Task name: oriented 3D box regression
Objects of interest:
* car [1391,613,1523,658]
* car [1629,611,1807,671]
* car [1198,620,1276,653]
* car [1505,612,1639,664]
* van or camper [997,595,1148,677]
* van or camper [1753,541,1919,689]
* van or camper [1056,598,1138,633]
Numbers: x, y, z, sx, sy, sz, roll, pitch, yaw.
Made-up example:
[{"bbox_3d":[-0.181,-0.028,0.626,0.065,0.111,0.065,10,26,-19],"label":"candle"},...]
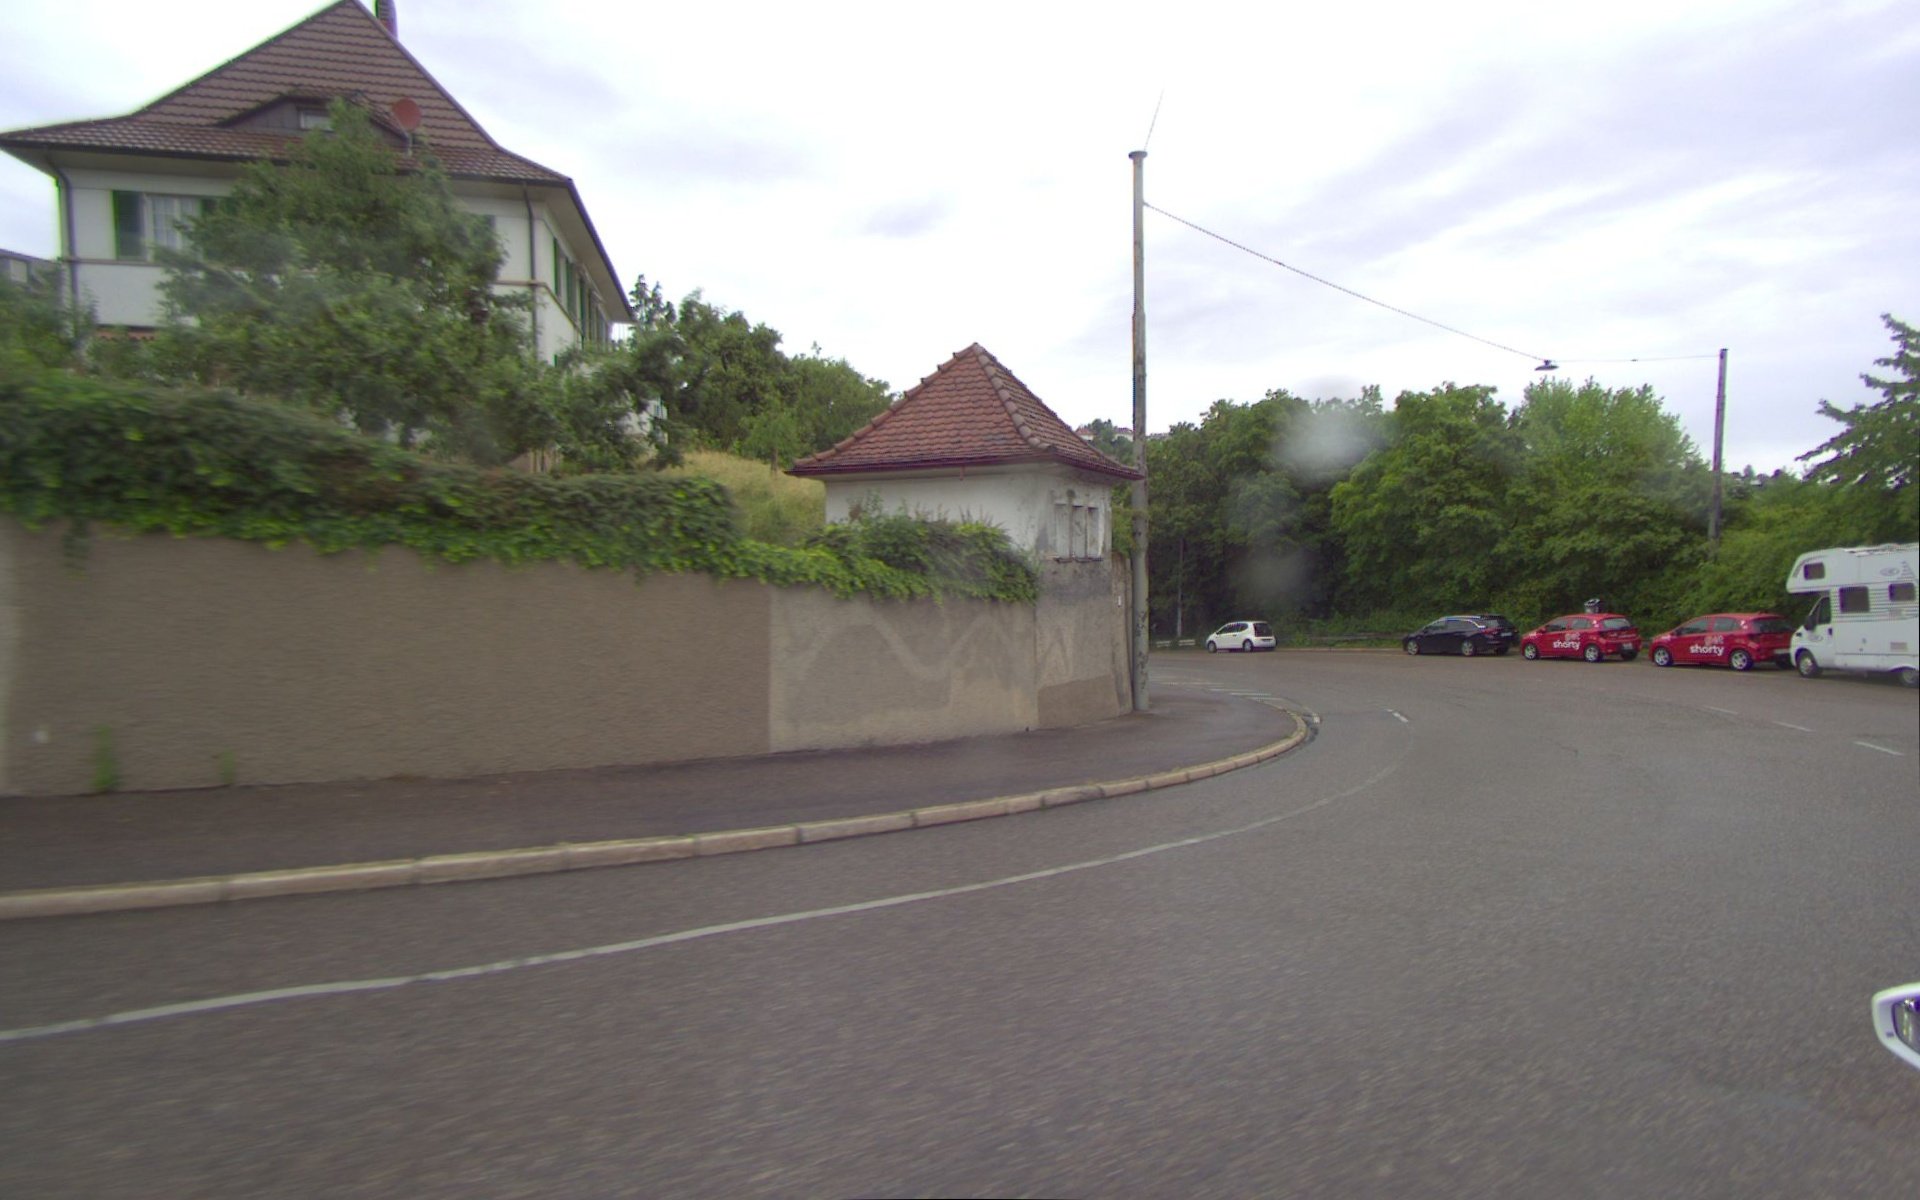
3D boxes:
[{"bbox_3d":[18.680,1.312,38.022,1.697,1.533,4.576,-3,0,-19],"label":"car"},{"bbox_3d":[20.928,1.097,27.928,1.617,1.480,3.799,-3,-1,-11],"label":"car"},{"bbox_3d":[13.573,1.806,49.347,1.572,1.521,3.637,0,-2,-31],"label":"car"},{"bbox_3d":[19.974,1.198,32.929,1.537,1.533,3.664,-3,0,-16],"label":"car"},{"bbox_3d":[4.212,1.316,39.295,2.136,2.826,6.995,-3,1,-29],"label":"van or camper"},{"bbox_3d":[20.760,0.270,22.036,2.349,2.983,6.285,-3,-1,9],"label":"van or camper"},{"bbox_3d":[12.991,1.466,94.906,7.558,2.972,2.187,1,4,-26],"label":"van or camper"}]
